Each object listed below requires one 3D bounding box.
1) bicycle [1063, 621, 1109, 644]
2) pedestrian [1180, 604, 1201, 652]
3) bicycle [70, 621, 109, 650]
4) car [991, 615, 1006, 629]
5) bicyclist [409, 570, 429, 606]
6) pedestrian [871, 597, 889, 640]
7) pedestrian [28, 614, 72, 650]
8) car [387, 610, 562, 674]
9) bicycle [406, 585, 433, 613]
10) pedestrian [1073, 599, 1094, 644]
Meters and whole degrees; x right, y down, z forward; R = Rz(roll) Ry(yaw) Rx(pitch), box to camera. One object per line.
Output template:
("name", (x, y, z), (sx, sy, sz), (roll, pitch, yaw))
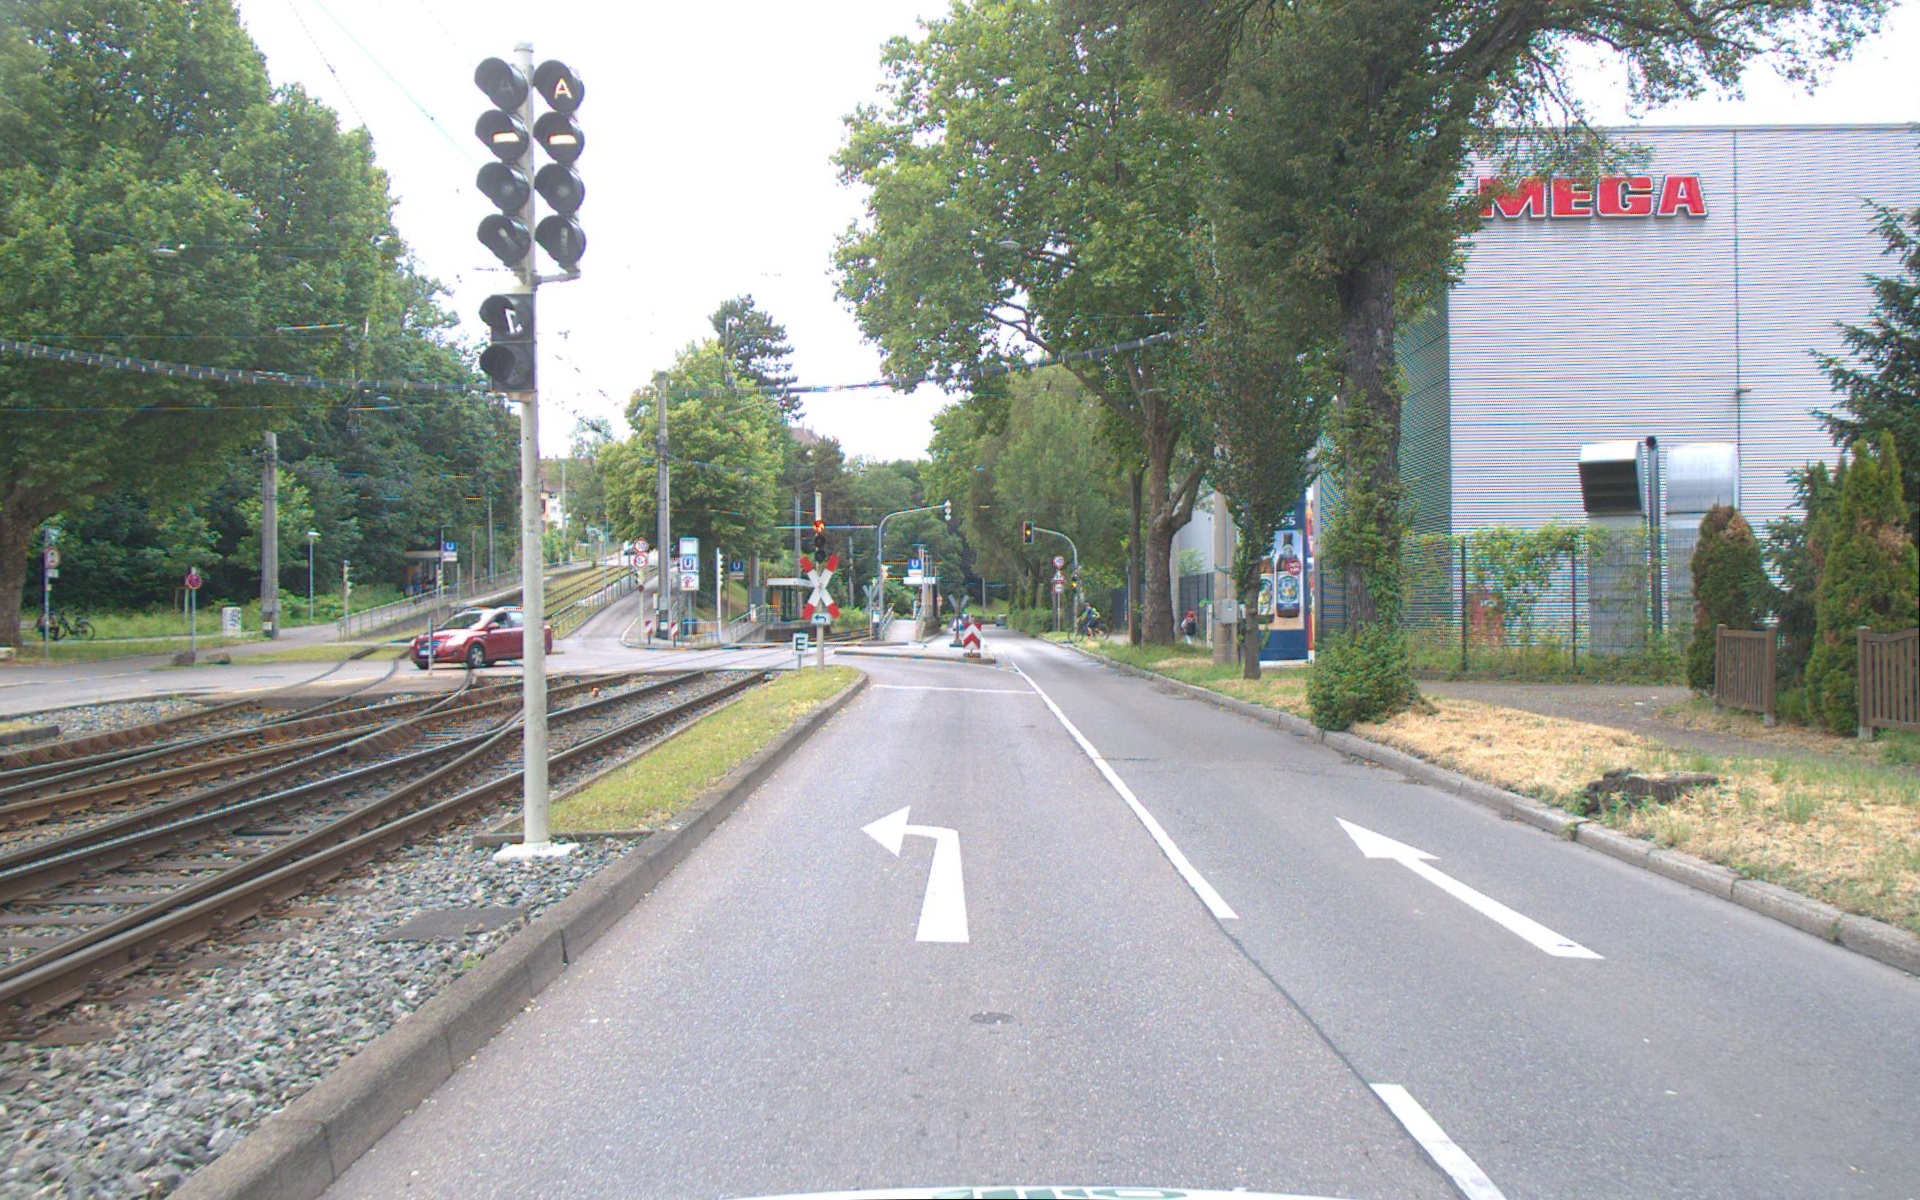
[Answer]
("bicycle", (5.778, 1.502, 75.842), (2.030, 1.024, 0.668), (-1, -1, 6))
("pedestrian", (7.670, 0.920, 55.099), (0.652, 1.580, 0.935), (-1, -1, 6))
("bicycle", (-33.168, 1.353, 62.998), (1.621, 1.030, 0.672), (1, -2, 38))
("car", (5.231, 2.953, 225.768), (1.952, 1.847, 4.000), (-1, 0, 1))
("bicyclist", (-29.182, -0.658, 89.205), (0.805, 1.881, 1.050), (0, 2, -8))
("pedestrian", (-3.511, 0.813, 72.205), (0.753, 1.885, 0.909), (-1, -1, -3))
("pedestrian", (-34.109, 1.194, 62.011), (1.095, 1.290, 1.052), (0, -2, 38))
("car", (-12.478, 1.031, 42.825), (1.953, 1.542, 4.500), (0, 0, 22))
("bicycle", (-29.193, -0.070, 89.367), (0.808, 1.366, 2.992), (-1, 3, -8))
("pedestrian", (5.684, 1.002, 75.873), (0.911, 2.049, 0.668), (-1, -1, 6))
